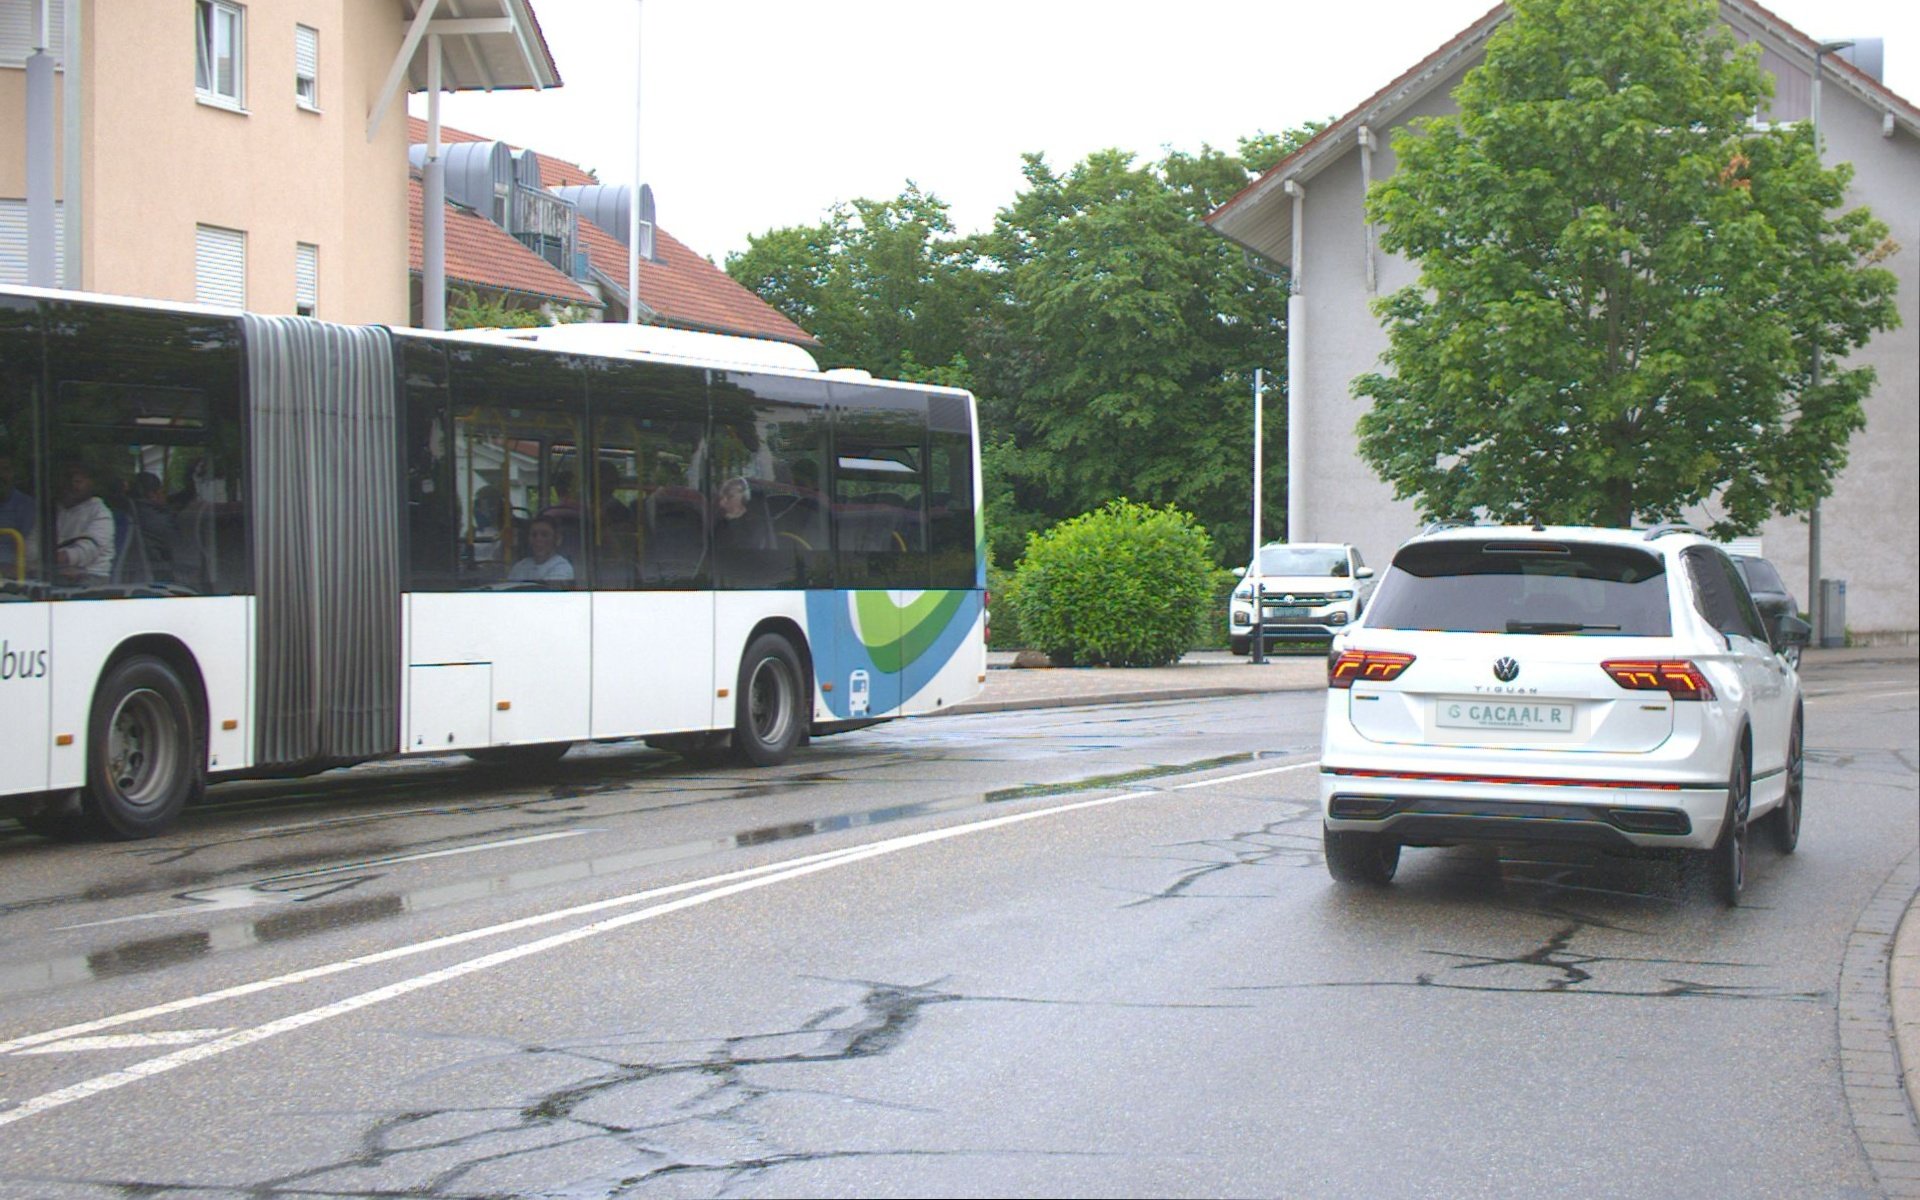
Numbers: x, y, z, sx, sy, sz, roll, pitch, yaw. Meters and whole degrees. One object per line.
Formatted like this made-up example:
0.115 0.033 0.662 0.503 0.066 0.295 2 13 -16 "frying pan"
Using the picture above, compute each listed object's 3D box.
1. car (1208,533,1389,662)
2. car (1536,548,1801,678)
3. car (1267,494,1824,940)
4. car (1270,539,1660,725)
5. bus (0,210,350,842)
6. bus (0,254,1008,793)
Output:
4.749 -0.005 47.799 1.995 1.645 3.997 2 -1 12 "car"
8.322 0.123 40.194 1.591 1.417 3.687 0 1 37 "car"
2.916 0.409 16.332 1.922 1.716 4.261 3 3 18 "car"
4.566 0.237 30.574 1.863 1.513 4.284 1 1 32 "car"
-6.351 -0.305 15.256 2.549 2.990 9.193 -1 1 23 "bus"
-2.748 -0.500 23.377 2.589 2.990 8.393 -1 1 28 "bus"
